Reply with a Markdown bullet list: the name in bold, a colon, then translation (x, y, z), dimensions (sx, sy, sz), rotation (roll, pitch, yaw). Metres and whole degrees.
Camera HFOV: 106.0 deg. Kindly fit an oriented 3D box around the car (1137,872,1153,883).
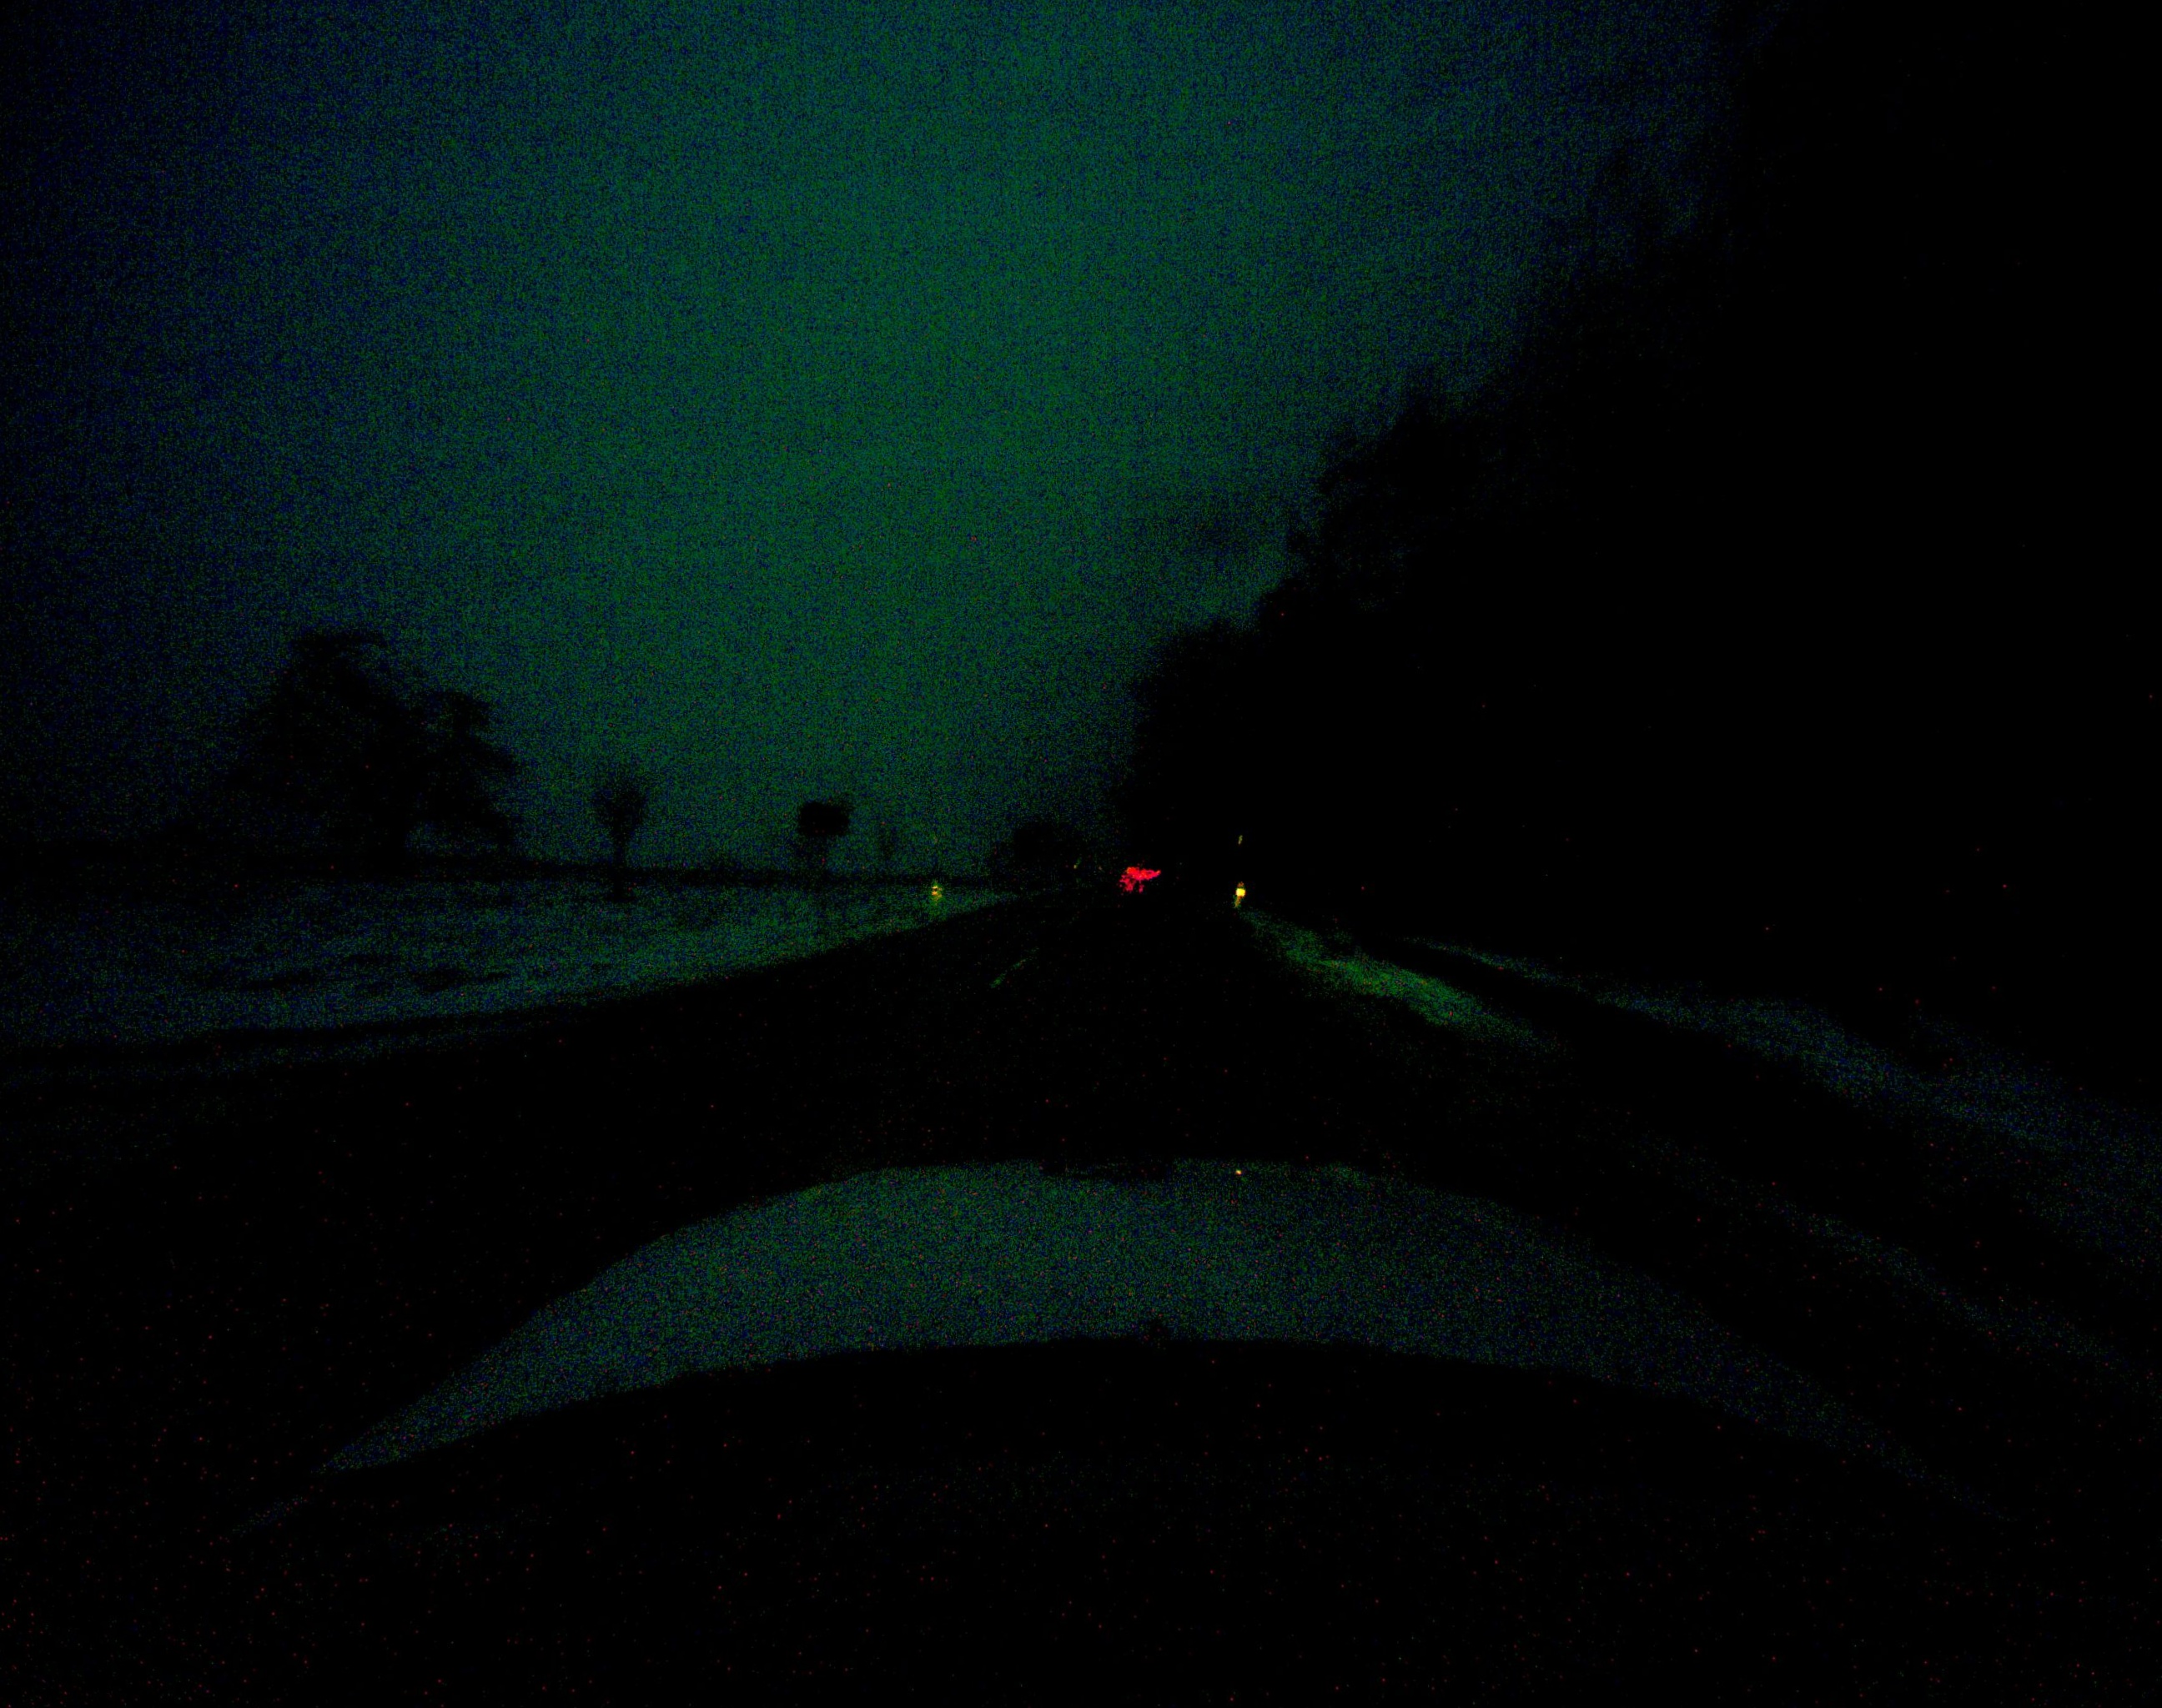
- **car**: translation (8.464, 3.105, 108.119), dimensions (1.985, 1.420, 4.003), rotation (-1, -1, 3)
